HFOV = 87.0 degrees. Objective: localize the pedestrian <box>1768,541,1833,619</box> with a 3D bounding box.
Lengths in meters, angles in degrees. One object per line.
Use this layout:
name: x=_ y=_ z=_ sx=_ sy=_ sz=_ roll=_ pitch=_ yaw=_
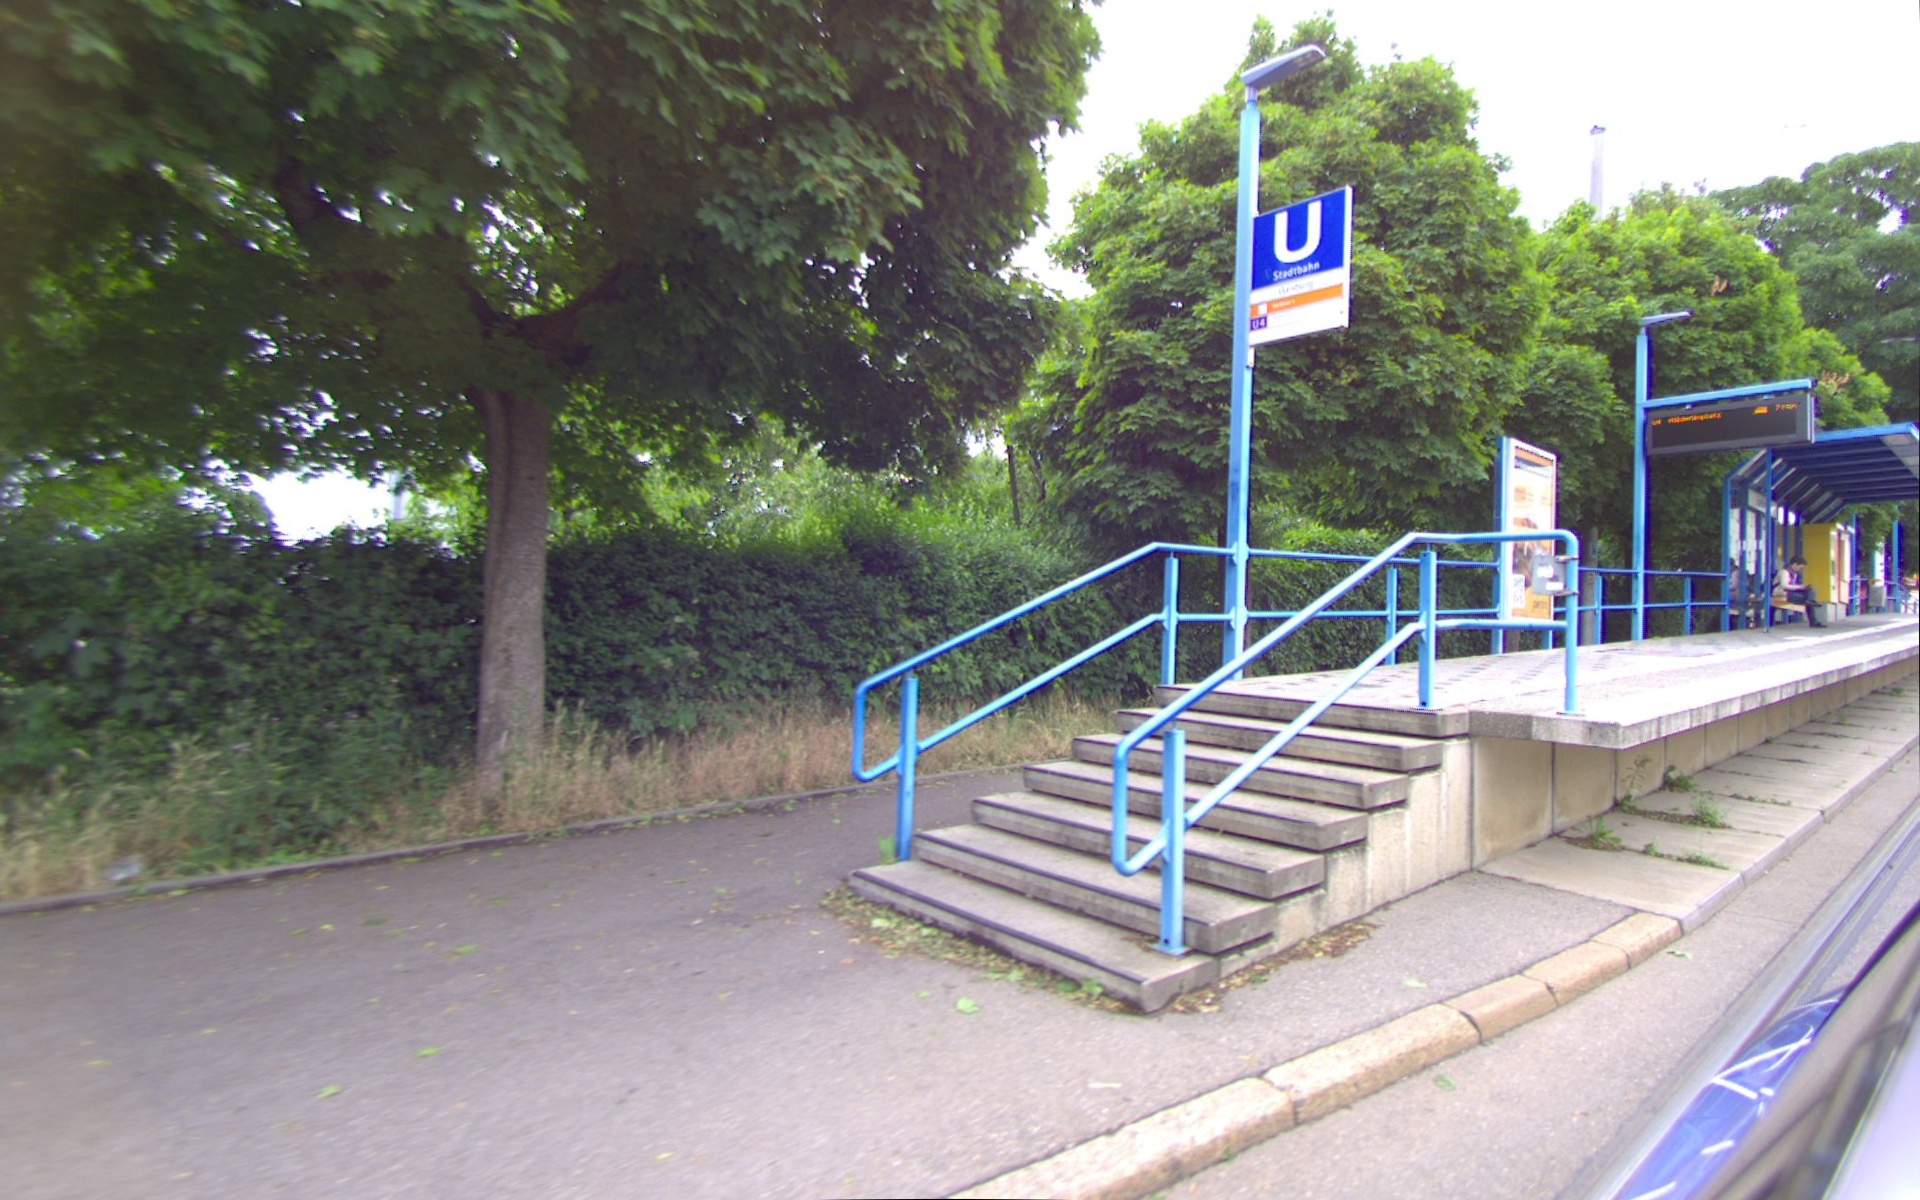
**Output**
pedestrian: x=14.747 y=-0.353 z=17.761 sx=0.645 sy=1.331 sz=0.780 roll=0 pitch=0 yaw=-41
